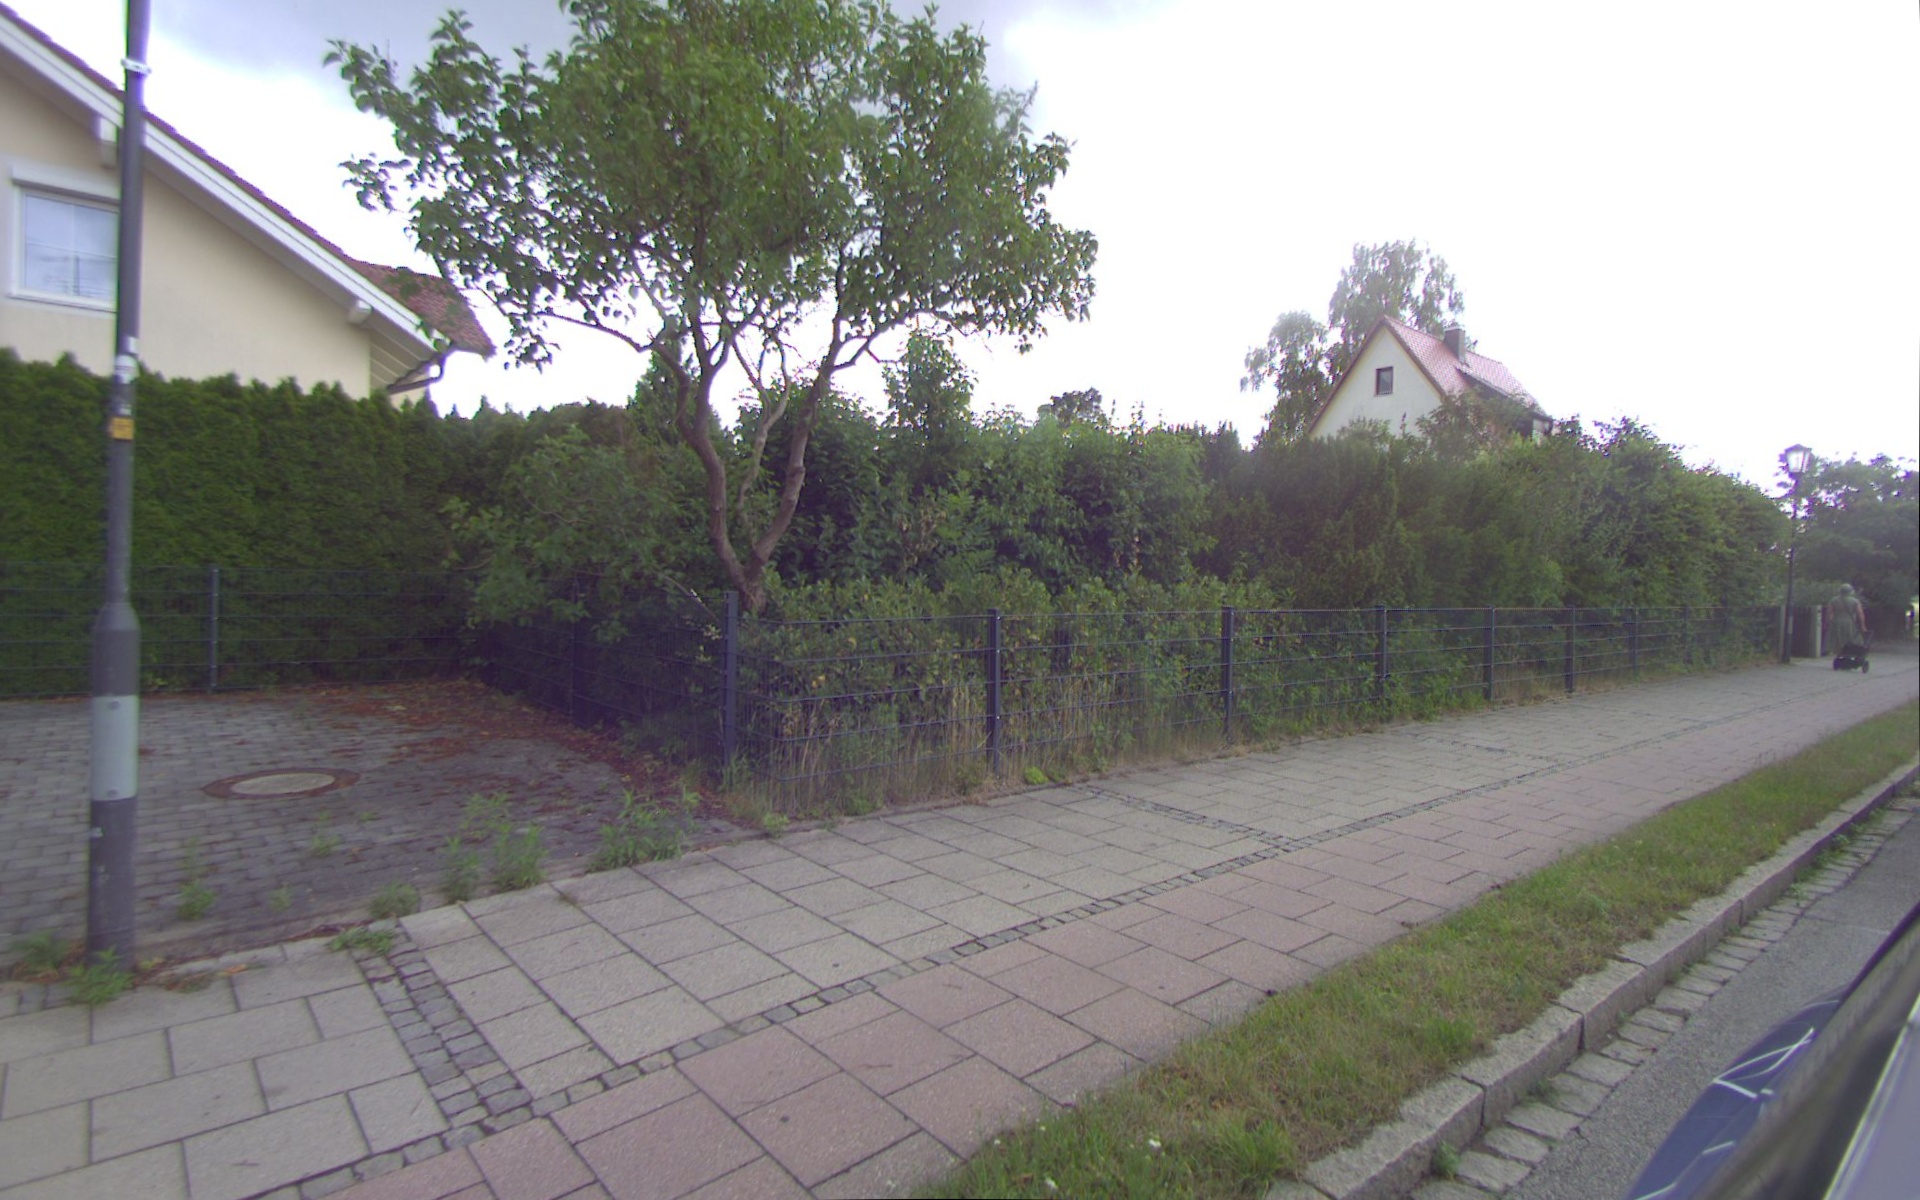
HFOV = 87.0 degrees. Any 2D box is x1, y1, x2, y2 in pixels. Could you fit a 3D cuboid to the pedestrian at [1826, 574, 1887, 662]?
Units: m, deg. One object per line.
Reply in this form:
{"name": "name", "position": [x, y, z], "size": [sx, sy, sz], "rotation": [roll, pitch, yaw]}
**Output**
{"name": "pedestrian", "position": [16.937, 0.328, 19.131], "size": [0.660, 1.622, 0.791], "rotation": [0, 1, -43]}

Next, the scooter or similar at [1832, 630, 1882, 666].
{"name": "scooter or similar", "position": [16.473, 0.870, 18.590], "size": [0.730, 0.563, 0.617], "rotation": [0, 4, -45]}
